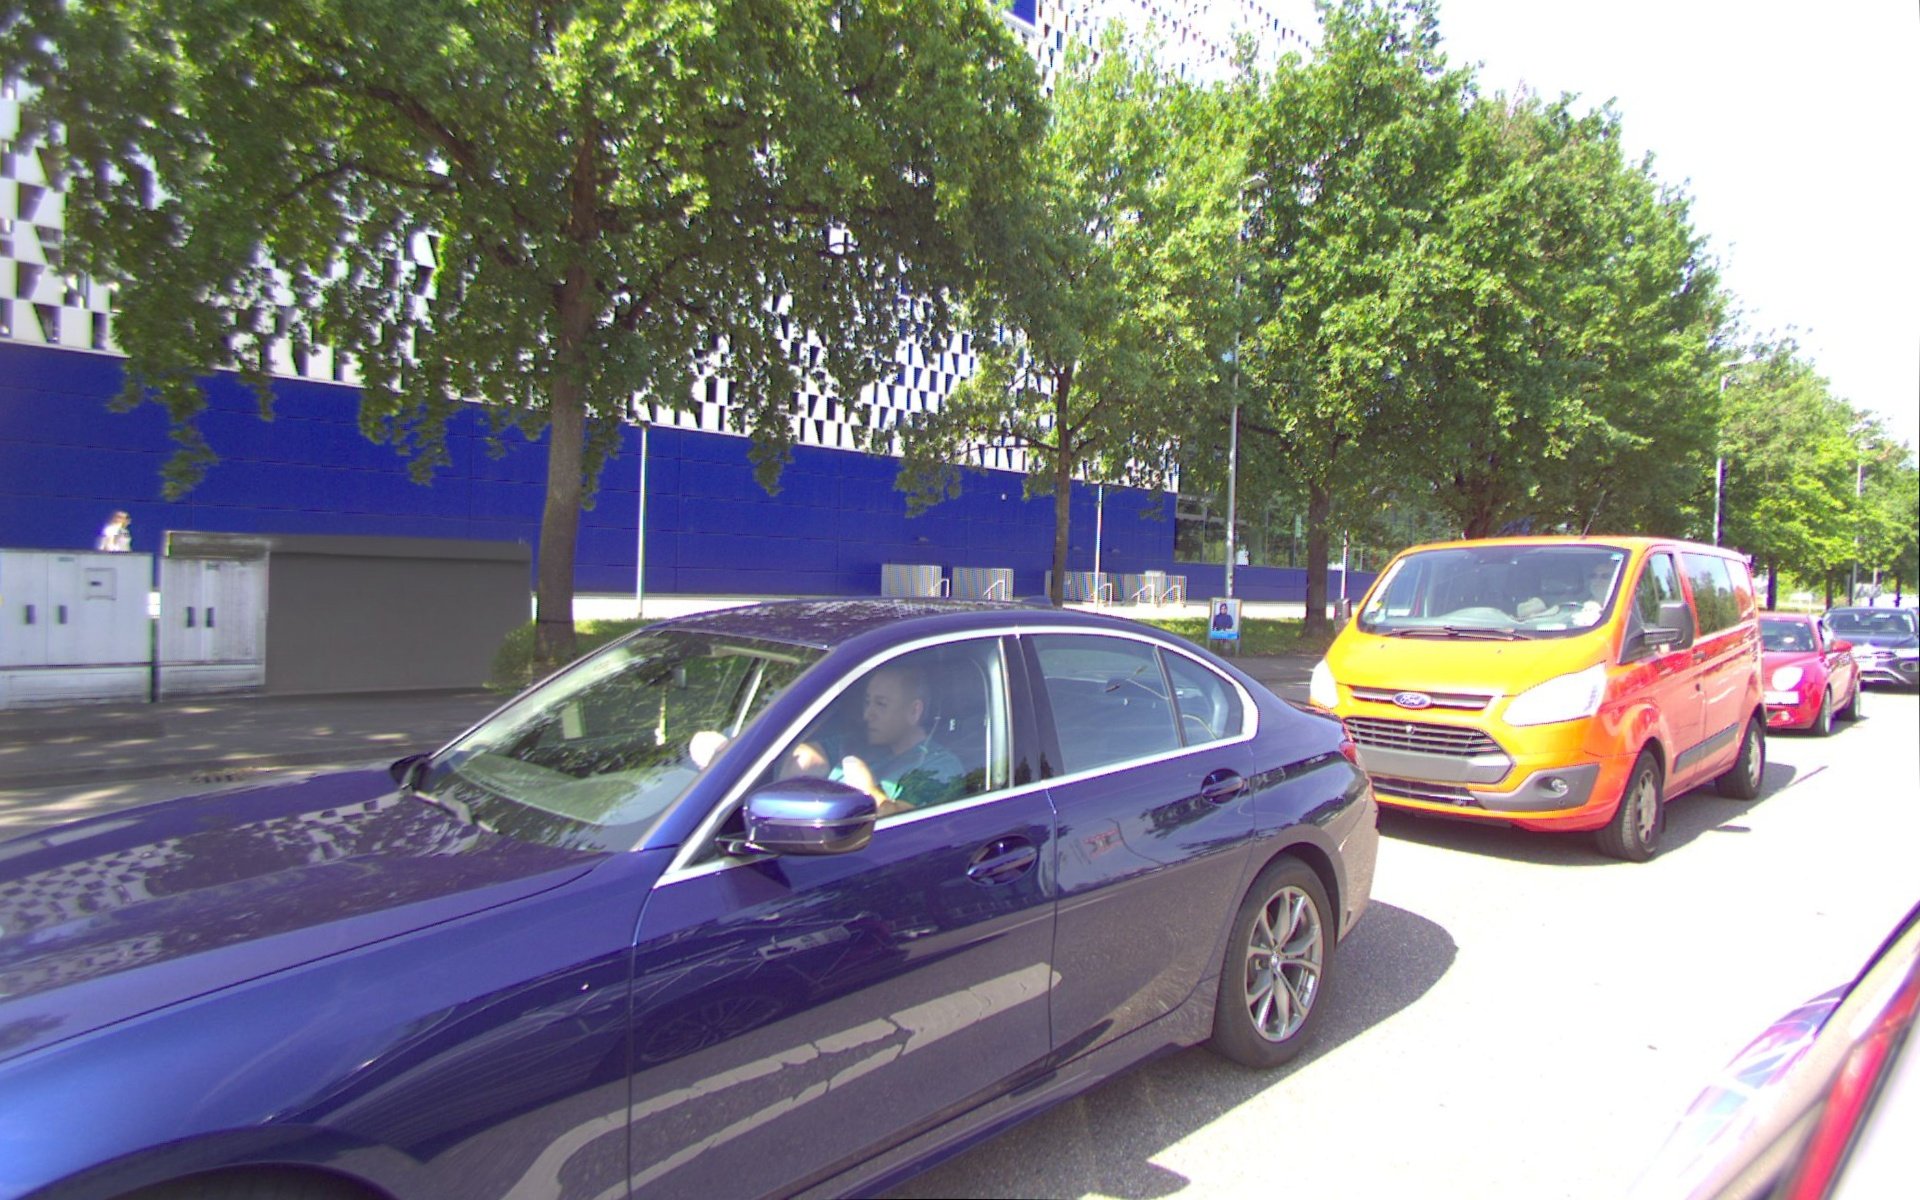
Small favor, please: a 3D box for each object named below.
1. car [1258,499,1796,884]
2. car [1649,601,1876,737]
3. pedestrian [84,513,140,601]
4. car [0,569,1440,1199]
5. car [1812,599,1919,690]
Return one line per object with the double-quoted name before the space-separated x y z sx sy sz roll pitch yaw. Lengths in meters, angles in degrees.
"car" 4.374 0.457 7.415 4.726 1.931 2.012 0 0 -42
"car" 10.347 0.763 12.951 3.849 1.440 1.690 0 1 -43
"pedestrian" -15.464 -0.778 18.461 0.767 1.565 0.680 1 2 -41
"car" -0.469 0.676 2.975 4.459 1.447 1.798 0 1 -42
"car" 17.446 0.775 19.053 3.932 1.559 1.647 0 -1 -42
